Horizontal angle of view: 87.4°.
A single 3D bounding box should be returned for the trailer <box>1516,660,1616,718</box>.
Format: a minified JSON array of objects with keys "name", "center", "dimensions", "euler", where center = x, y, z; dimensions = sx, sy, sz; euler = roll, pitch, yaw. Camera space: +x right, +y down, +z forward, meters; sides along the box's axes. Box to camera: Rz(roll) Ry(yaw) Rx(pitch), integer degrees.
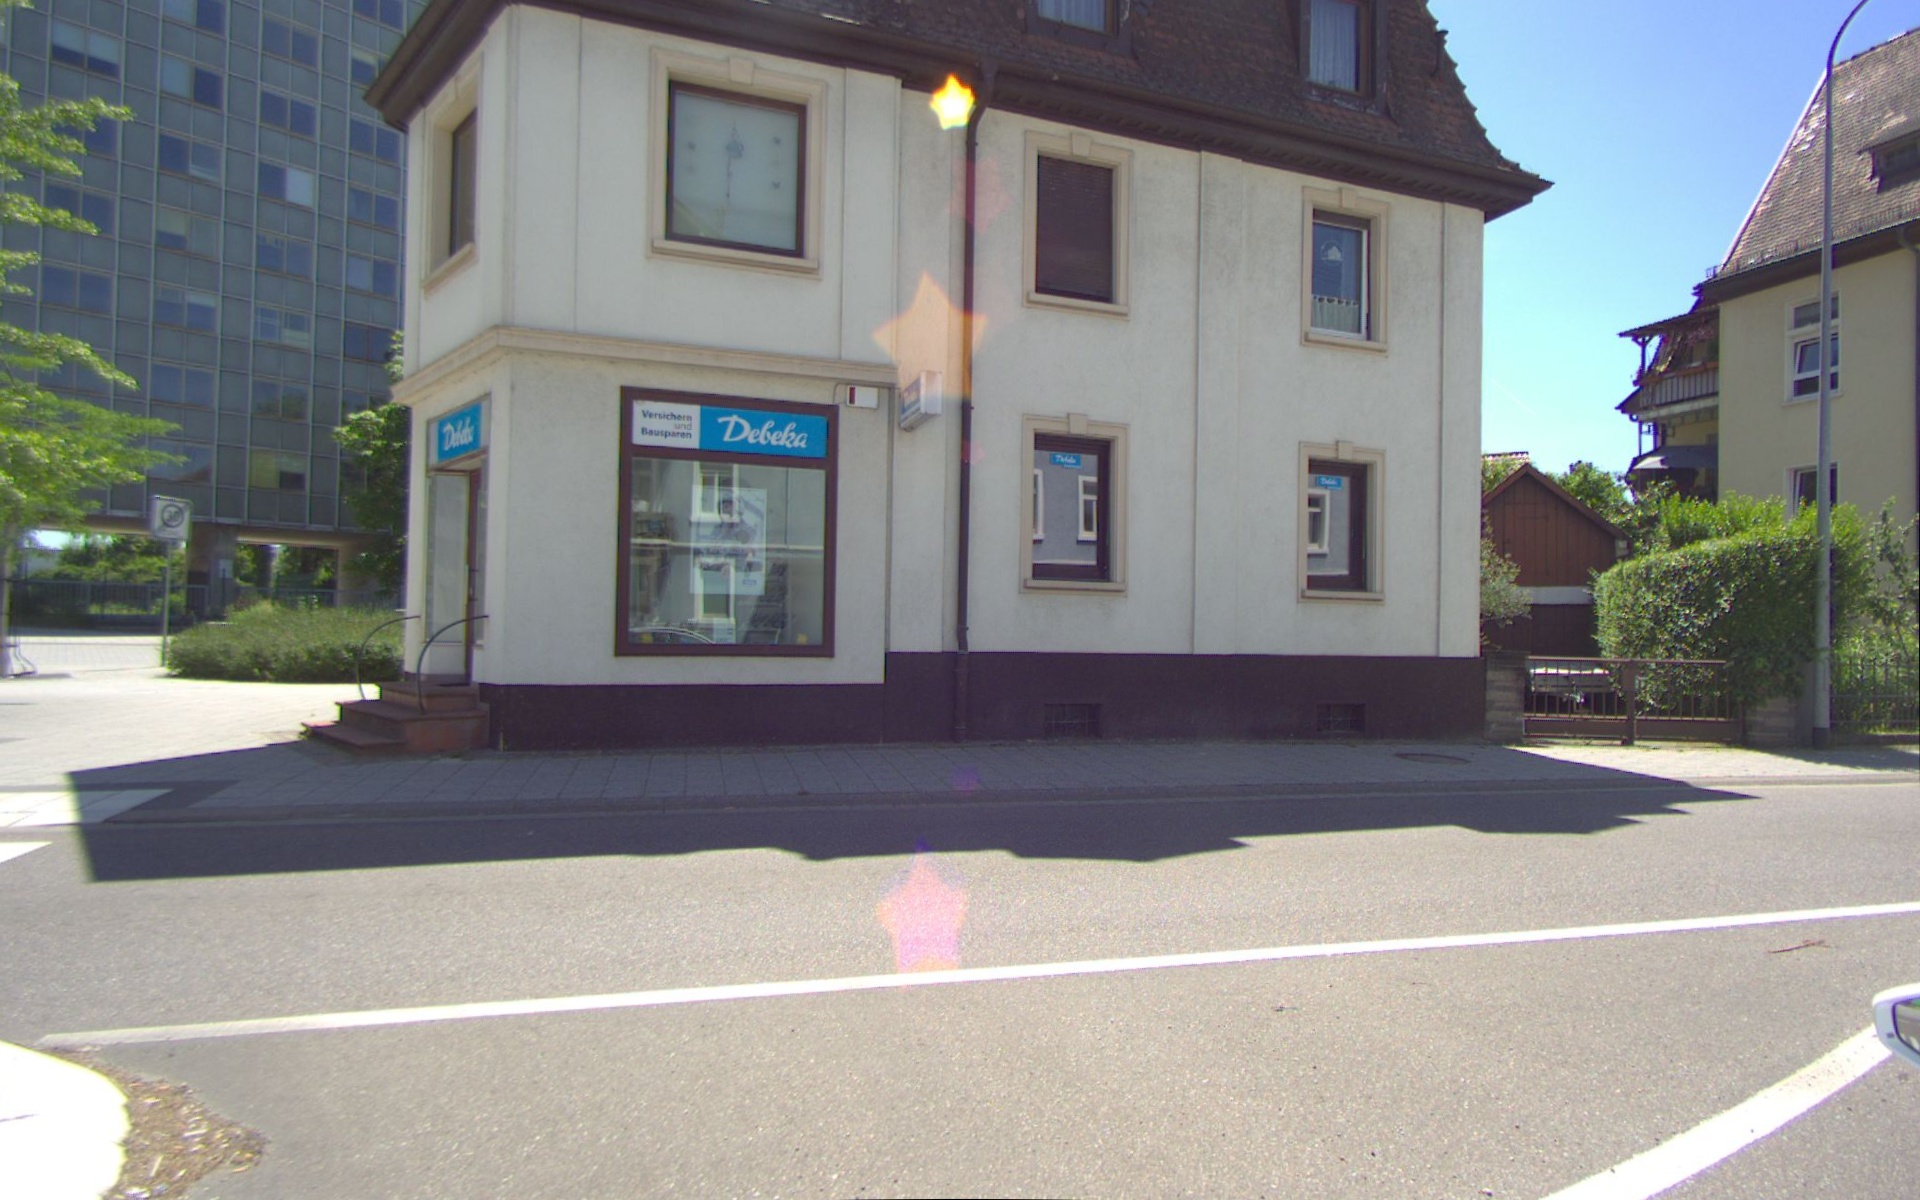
[{"name":"trailer","center":[11.267,1.616,18.803],"dimensions":[1.333,0.872,2.815],"euler":[1,-1,26]}]
